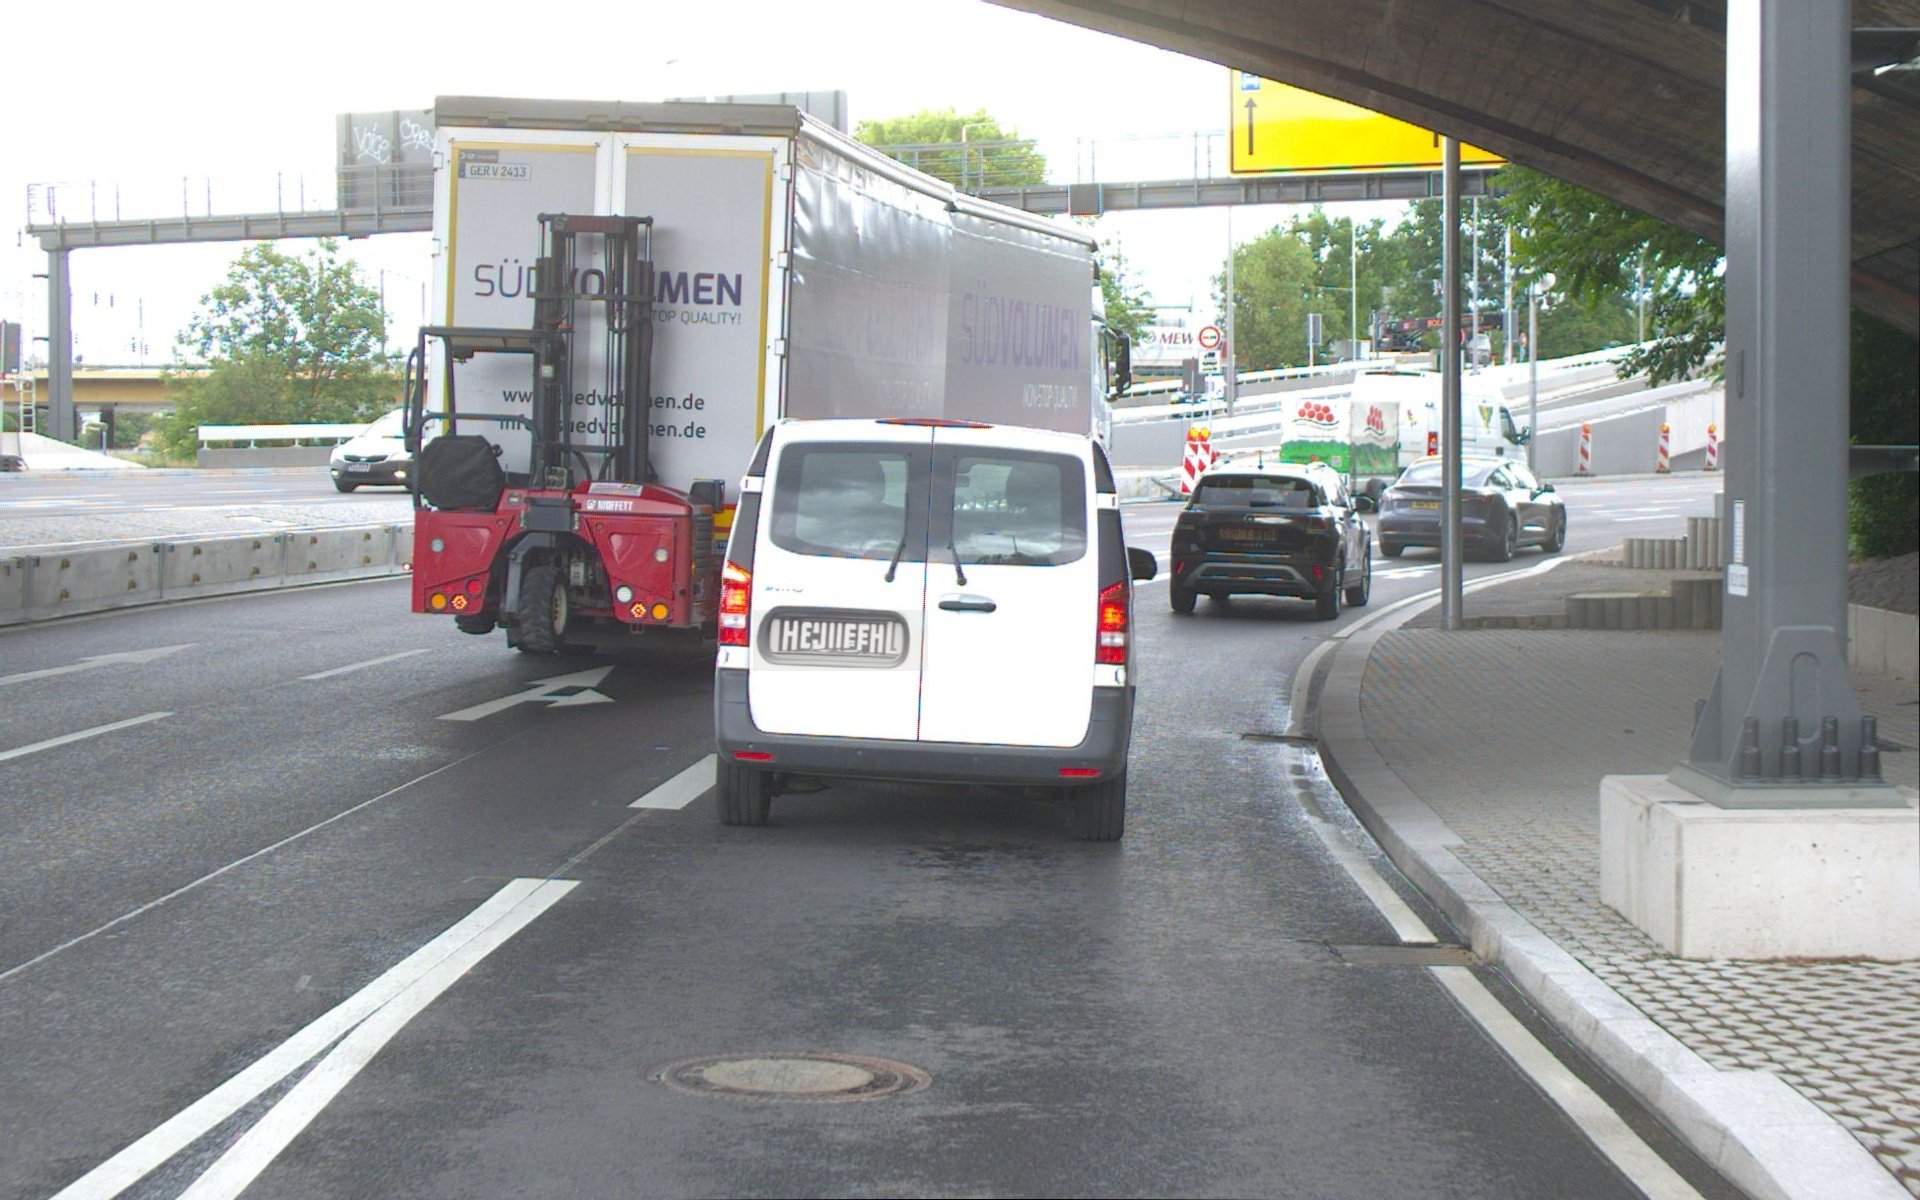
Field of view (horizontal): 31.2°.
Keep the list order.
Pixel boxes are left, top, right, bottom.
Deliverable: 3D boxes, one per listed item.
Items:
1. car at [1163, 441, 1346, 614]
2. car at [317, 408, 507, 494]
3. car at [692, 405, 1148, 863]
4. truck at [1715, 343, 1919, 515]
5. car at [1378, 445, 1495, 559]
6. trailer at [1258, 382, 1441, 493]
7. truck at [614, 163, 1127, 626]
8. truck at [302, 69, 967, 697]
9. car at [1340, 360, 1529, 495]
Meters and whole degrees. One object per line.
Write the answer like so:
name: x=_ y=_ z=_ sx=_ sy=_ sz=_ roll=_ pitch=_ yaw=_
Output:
car: x=3.175 y=-0.814 z=36.462 sx=1.750 sy=1.619 sz=3.844 roll=0 pitch=4 yaw=7
car: x=-9.968 y=-2.735 z=62.898 sx=1.857 sy=1.481 sz=4.541 roll=2 pitch=3 yaw=13
car: x=-0.139 y=0.092 z=17.006 sx=1.876 sy=1.884 sz=4.753 roll=2 pitch=1 yaw=1
truck: x=22.915 y=-4.186 z=85.121 sx=3.322 sy=3.796 sz=16.567 roll=3 pitch=4 yaw=30
car: x=6.797 y=-1.422 z=48.888 sx=1.501 sy=1.463 sz=3.398 roll=1 pitch=4 yaw=10
trailer: x=7.347 y=-3.043 z=64.575 sx=1.997 sy=1.950 sz=4.073 roll=4 pitch=4 yaw=28
truck: x=-0.583 y=-2.123 z=37.098 sx=2.989 sy=4.161 sz=11.236 roll=2 pitch=3 yaw=11
truck: x=-2.142 y=-1.638 z=27.478 sx=2.918 sy=4.003 sz=10.199 roll=2 pitch=3 yaw=8
car: x=9.526 y=-3.430 z=68.651 sx=1.997 sy=2.532 sz=5.167 roll=4 pitch=4 yaw=28
